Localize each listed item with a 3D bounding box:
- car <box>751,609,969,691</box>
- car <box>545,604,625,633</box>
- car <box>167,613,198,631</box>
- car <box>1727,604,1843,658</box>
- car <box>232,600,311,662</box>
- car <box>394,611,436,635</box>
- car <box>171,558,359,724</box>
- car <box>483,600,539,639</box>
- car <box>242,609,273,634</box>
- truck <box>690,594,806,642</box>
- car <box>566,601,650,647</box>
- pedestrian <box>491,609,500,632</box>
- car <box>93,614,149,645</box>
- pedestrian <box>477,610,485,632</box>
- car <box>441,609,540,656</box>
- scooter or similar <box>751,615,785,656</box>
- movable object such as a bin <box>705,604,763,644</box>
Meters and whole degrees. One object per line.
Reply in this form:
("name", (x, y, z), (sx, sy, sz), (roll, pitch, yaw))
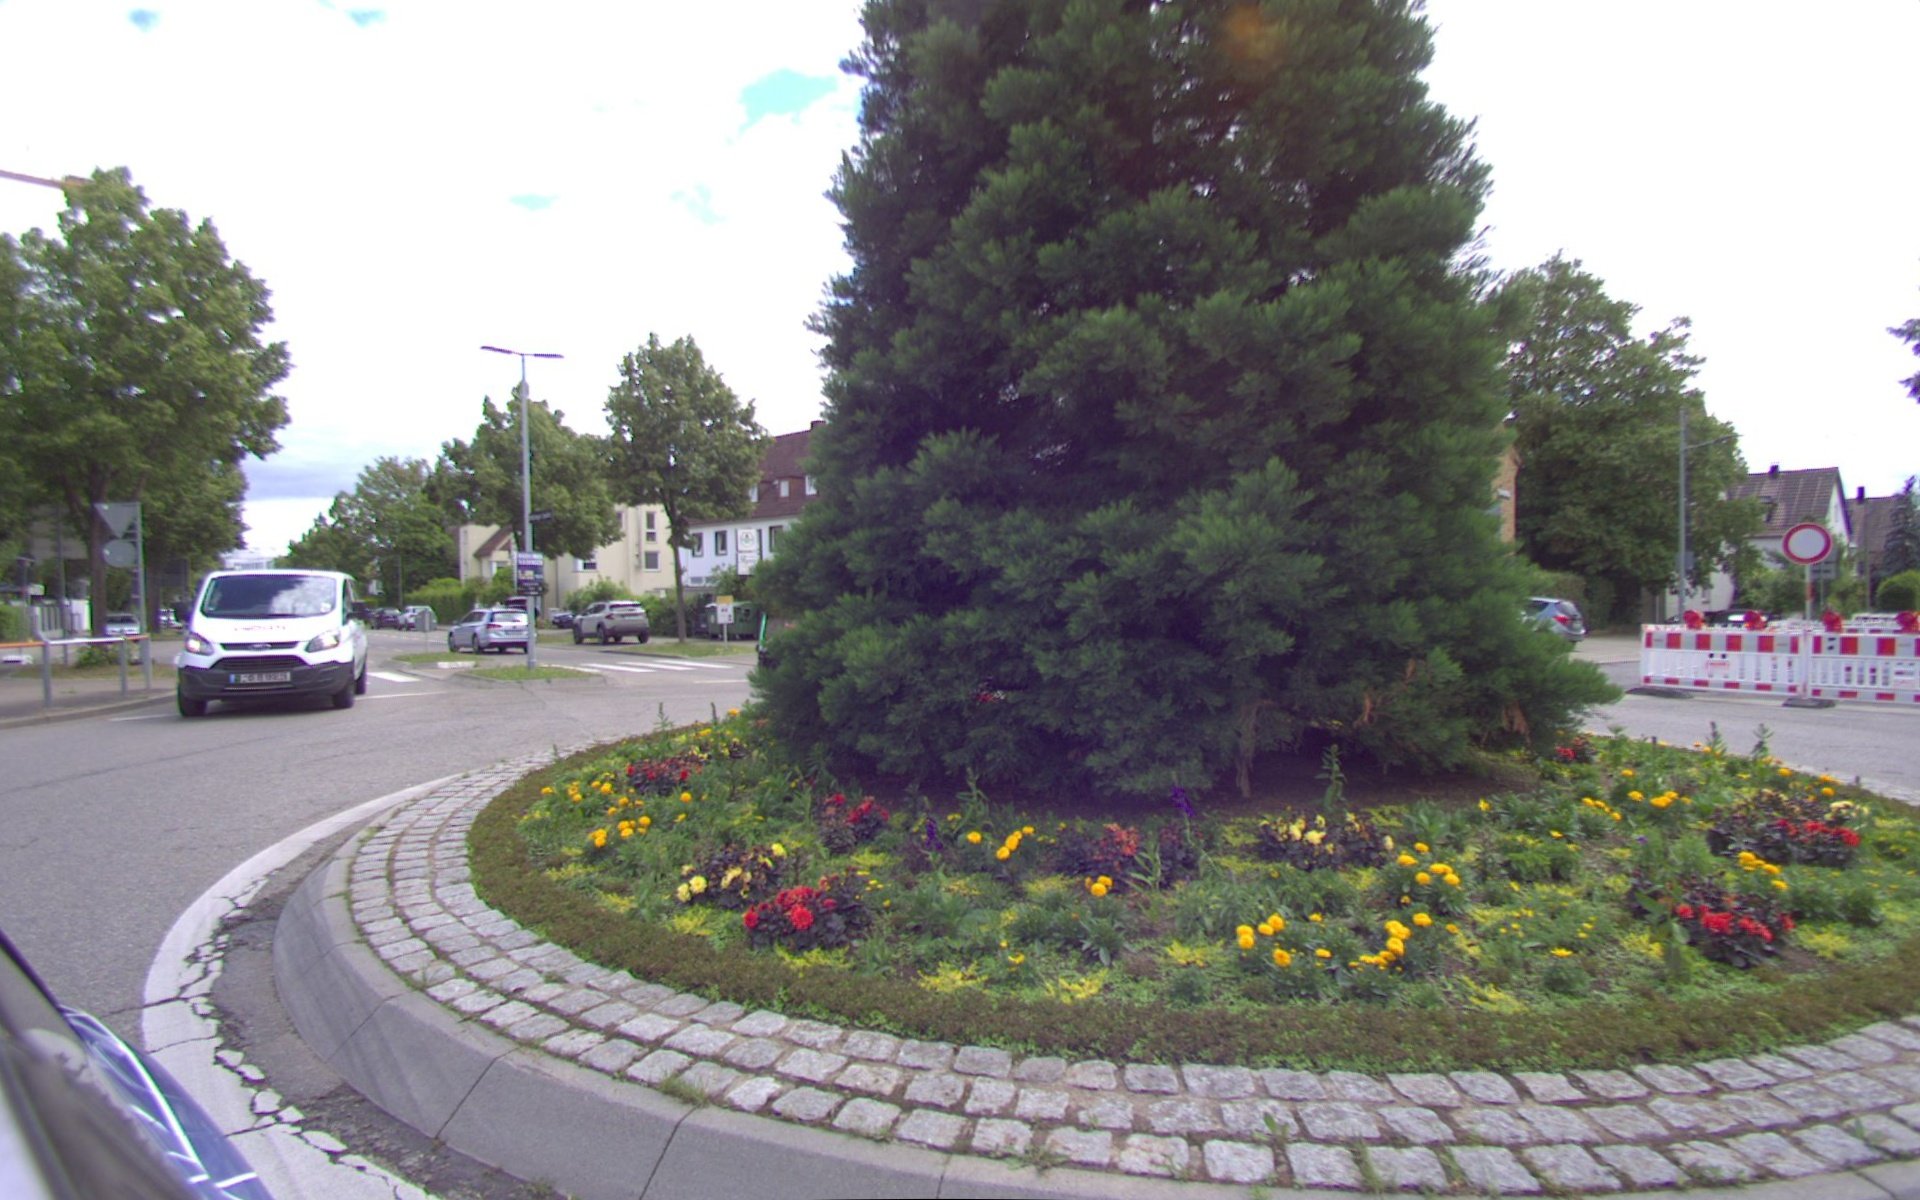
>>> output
("car", (-1.912, 0.866, 18.883), (3.968, 1.385, 1.523), (0, -1, 33))
("car", (-21.825, 1.073, 58.898), (3.987, 1.551, 1.754), (-1, 0, -43))
("car", (-61.380, 1.707, 79.912), (1.782, 1.352, 4.010), (-1, 0, -36))
("car", (22.667, 0.807, 27.784), (3.556, 1.343, 1.704), (-1, 0, -38))
("car", (-21.614, 0.920, 31.749), (1.896, 1.767, 4.010), (-1, 0, -35))
("car", (-36.888, 1.539, 68.444), (1.735, 1.573, 3.752), (-1, 0, -41))
("car", (-10.176, 0.518, 15.087), (1.966, 2.029, 5.065), (-1, 0, -32))
("car", (-22.669, 0.982, 51.020), (1.723, 1.843, 4.057), (-1, 0, -36))
("car", (-51.036, 1.550, 73.533), (1.796, 1.681, 4.010), (-1, 0, -35))
("truck", (-8.887, 0.725, 42.613), (4.433, 1.864, 1.867), (-1, 0, -43))
("car", (-13.576, 0.915, 38.917), (1.725, 1.648, 4.054), (-1, 0, -40))
("pedestrian", (-28.393, 1.256, 61.817), (0.380, 1.375, 0.414), (-1, 0, -36))
("car", (-40.310, 1.391, 48.700), (1.782, 1.352, 4.010), (-1, 0, -36))
("pedestrian", (-29.371, 1.279, 62.055), (0.380, 1.375, 0.414), (-1, 0, -36))
("car", (-15.654, 1.059, 33.609), (1.779, 1.465, 4.698), (0, -2, -41))
("scooter or similar", (-5.596, 1.017, 29.457), (0.380, 1.140, 1.037), (-1, 0, 30))
("movable object such as a bin", (-8.621, 0.902, 38.493), (0.969, 1.427, 2.727), (-1, 0, -40))
